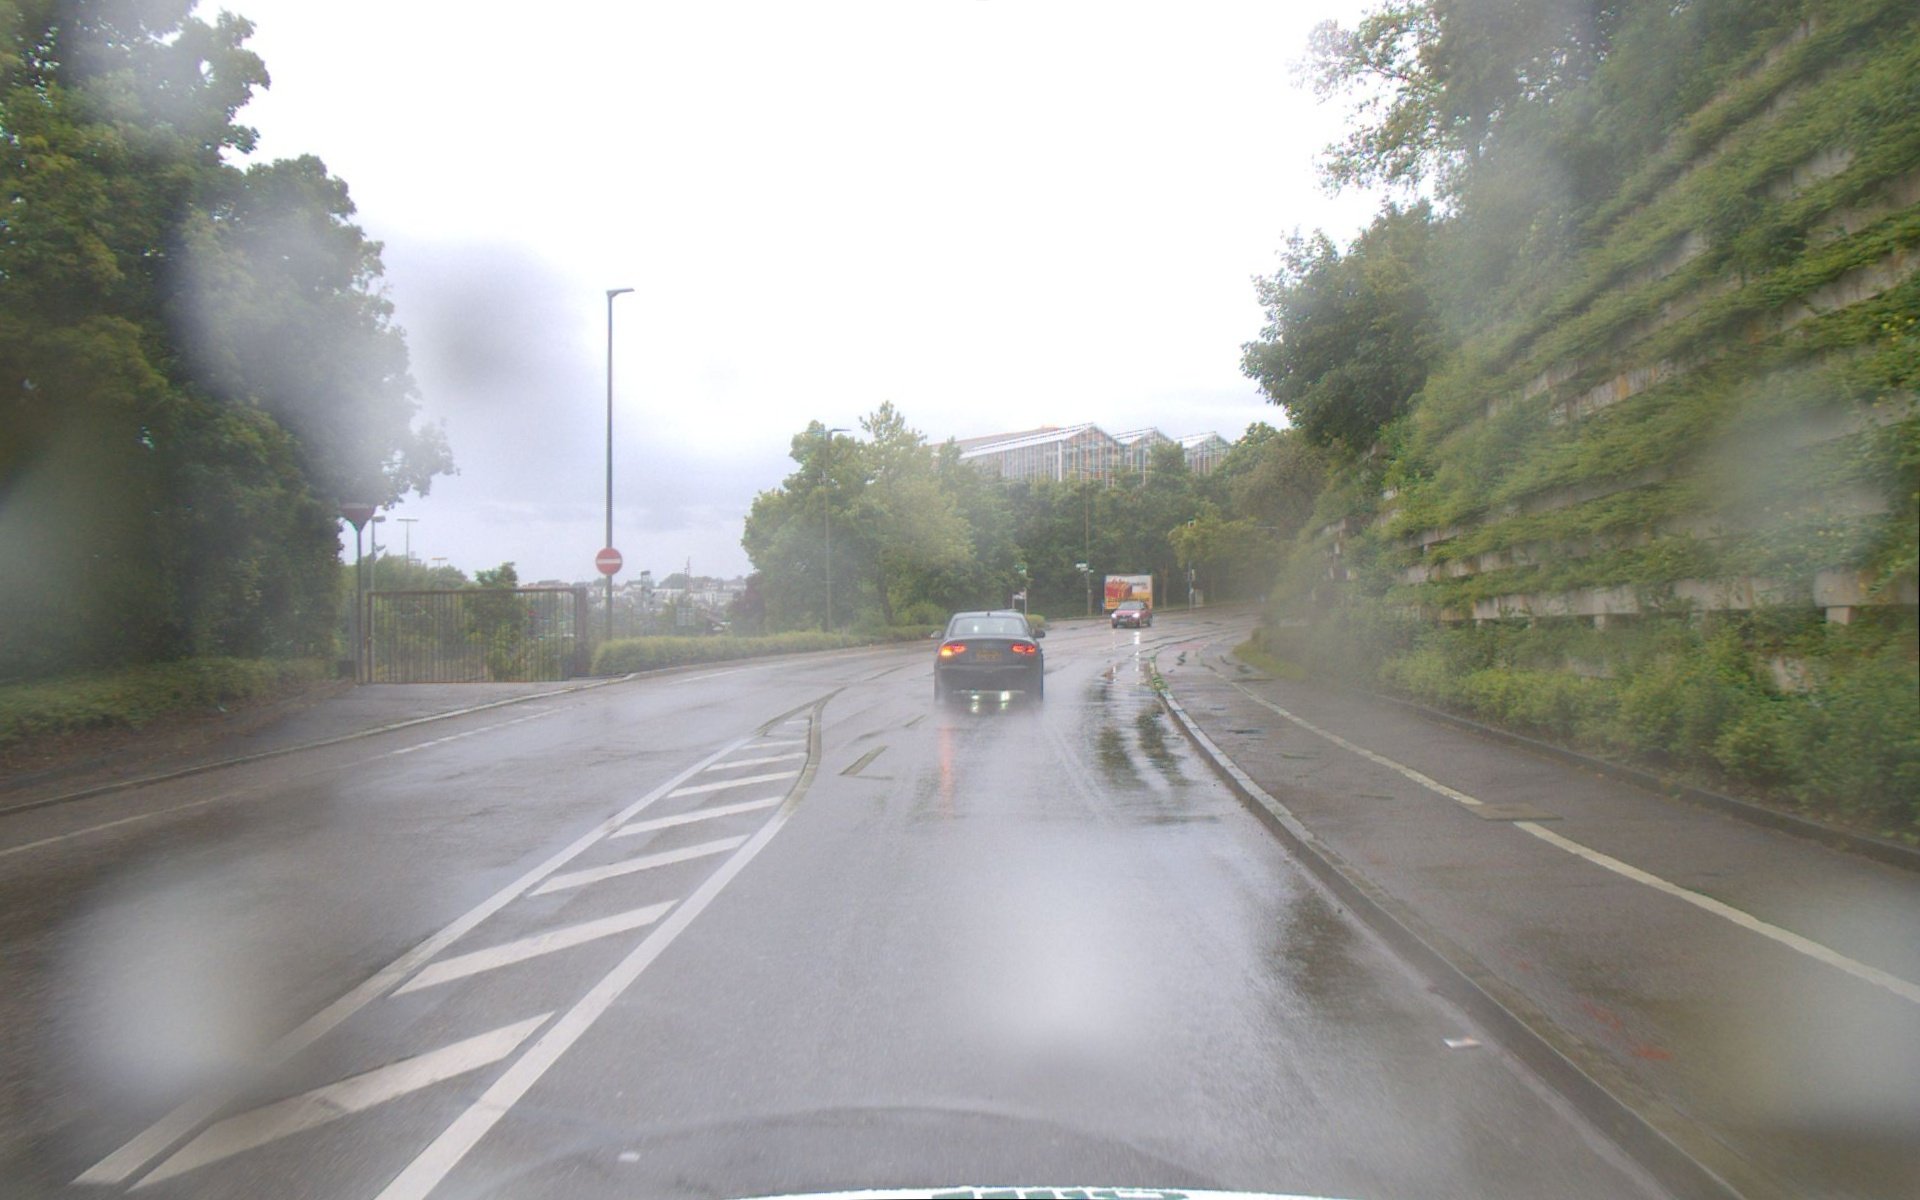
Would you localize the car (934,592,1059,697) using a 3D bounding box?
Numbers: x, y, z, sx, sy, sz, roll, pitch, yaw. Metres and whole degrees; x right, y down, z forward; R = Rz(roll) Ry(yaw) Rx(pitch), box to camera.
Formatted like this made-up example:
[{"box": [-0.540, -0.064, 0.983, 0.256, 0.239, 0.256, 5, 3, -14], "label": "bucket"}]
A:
[{"box": [0.676, 0.672, 27.226, 1.853, 1.518, 4.209, 2, 1, 4], "label": "car"}]

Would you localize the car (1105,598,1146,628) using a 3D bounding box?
[{"box": [10.113, 0.774, 100.948, 1.951, 1.771, 4.003, 0, 0, 14], "label": "car"}]

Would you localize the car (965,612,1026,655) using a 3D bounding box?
[{"box": [1.611, 1.448, 73.039, 1.951, 1.771, 4.004, 0, 0, 13], "label": "car"}]
